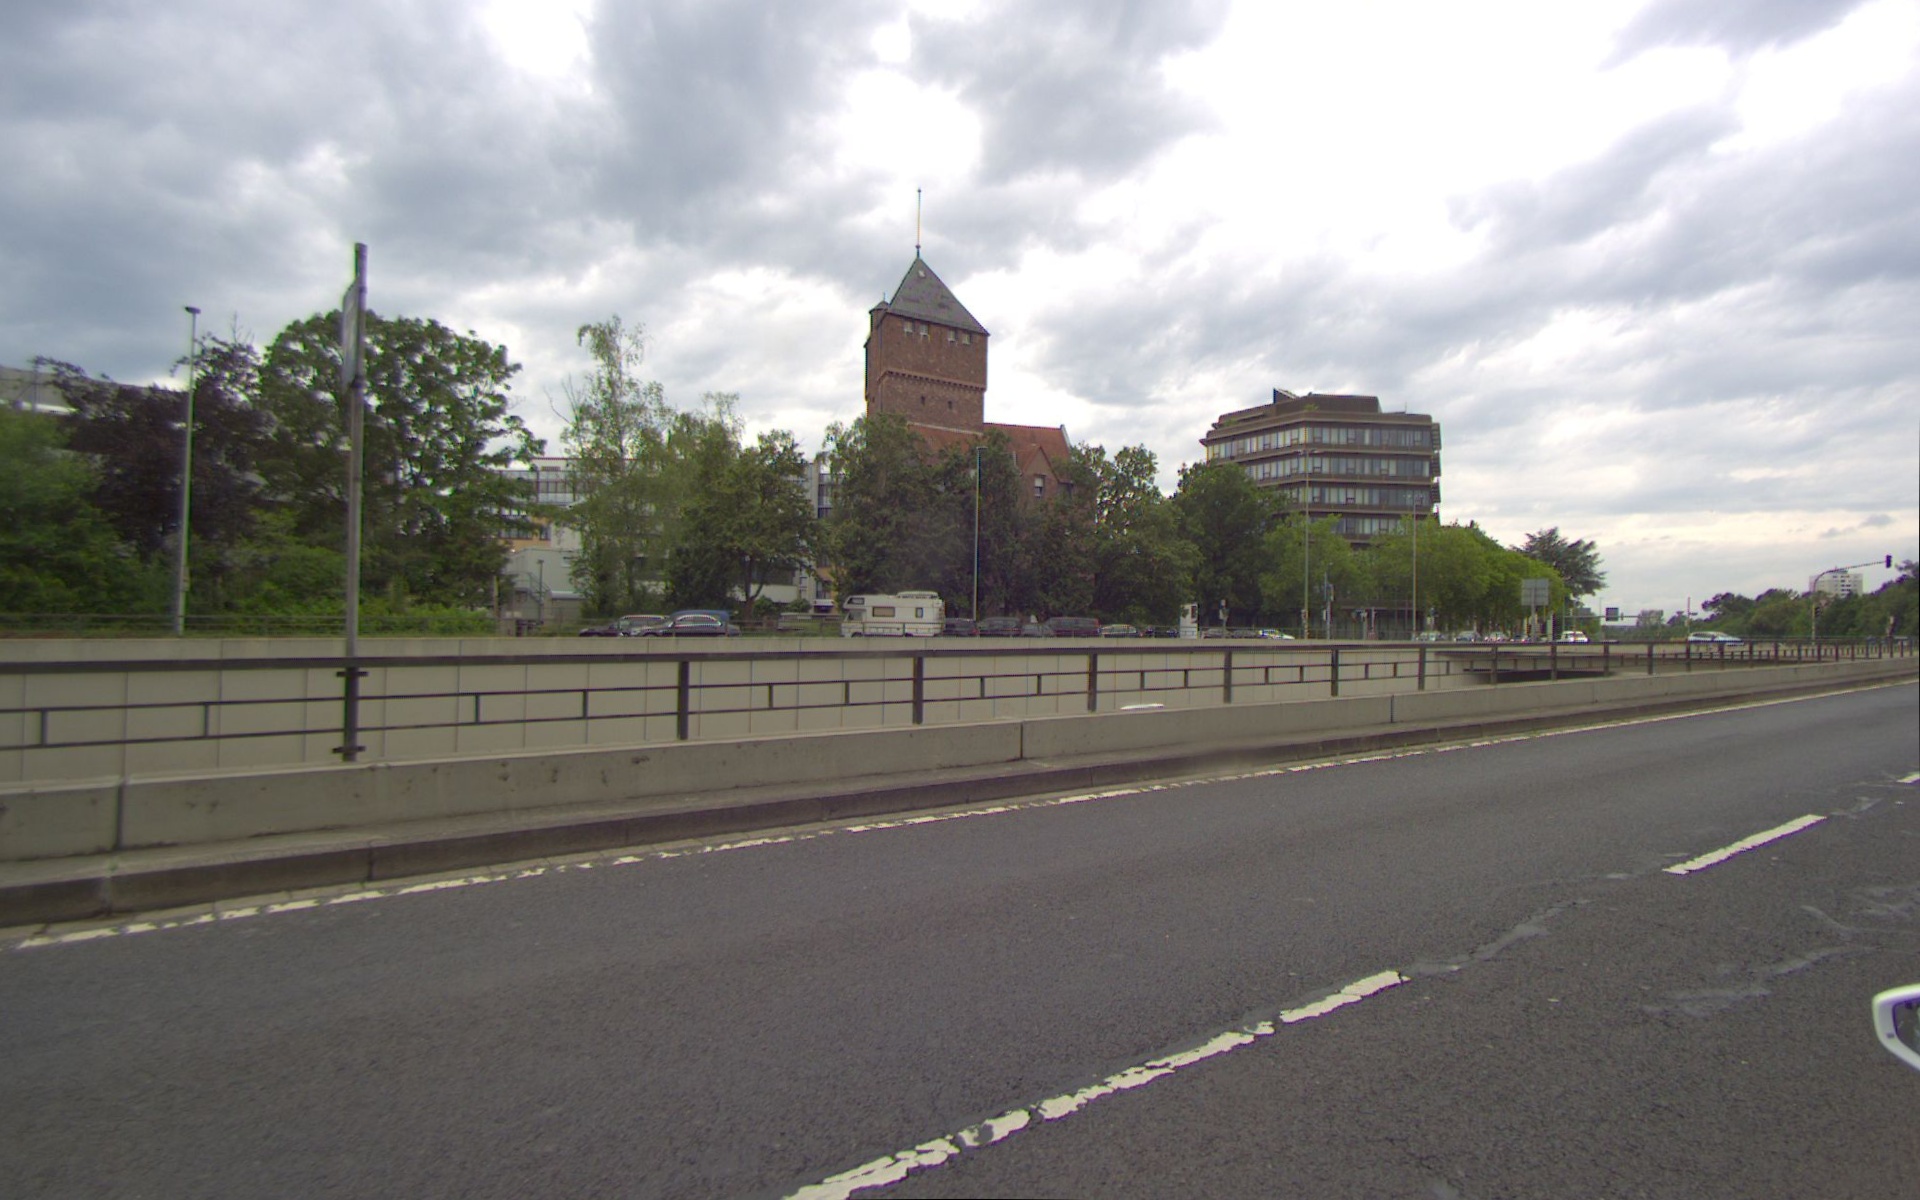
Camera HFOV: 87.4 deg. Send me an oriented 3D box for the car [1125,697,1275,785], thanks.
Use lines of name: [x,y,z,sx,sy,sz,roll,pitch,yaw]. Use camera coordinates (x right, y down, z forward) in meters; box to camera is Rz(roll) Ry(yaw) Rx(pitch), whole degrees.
car: [10.667,6.060,44.281,7.451,3.069,2.488,1,-1,-40]

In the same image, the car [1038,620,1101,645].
car: [7.041,2.090,64.702,3.919,1.460,1.630,2,0,6]

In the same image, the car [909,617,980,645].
car: [-0.864,1.811,58.559,3.919,1.460,1.630,2,0,6]

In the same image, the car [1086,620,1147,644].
car: [10.458,2.113,67.457,3.919,1.460,1.630,2,0,6]

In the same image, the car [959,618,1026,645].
car: [1.972,1.911,60.681,3.919,1.460,1.630,2,0,6]

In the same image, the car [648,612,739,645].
car: [-12.973,1.383,48.994,3.919,1.460,1.630,2,0,6]

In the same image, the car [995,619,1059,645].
car: [4.225,1.993,62.782,3.919,1.460,1.630,2,0,6]

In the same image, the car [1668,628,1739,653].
car: [64.290,3.483,86.957,1.966,2.040,4.798,1,-1,-13]

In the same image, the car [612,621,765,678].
car: [-10.524,1.877,39.235,5.434,2.040,1.979,1,-1,-36]

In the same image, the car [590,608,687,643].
car: [-14.841,1.178,46.490,3.919,1.460,1.630,2,0,6]

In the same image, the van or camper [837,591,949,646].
van or camper: [-3.732,1.015,56.106,5.804,2.847,2.147,2,0,12]
